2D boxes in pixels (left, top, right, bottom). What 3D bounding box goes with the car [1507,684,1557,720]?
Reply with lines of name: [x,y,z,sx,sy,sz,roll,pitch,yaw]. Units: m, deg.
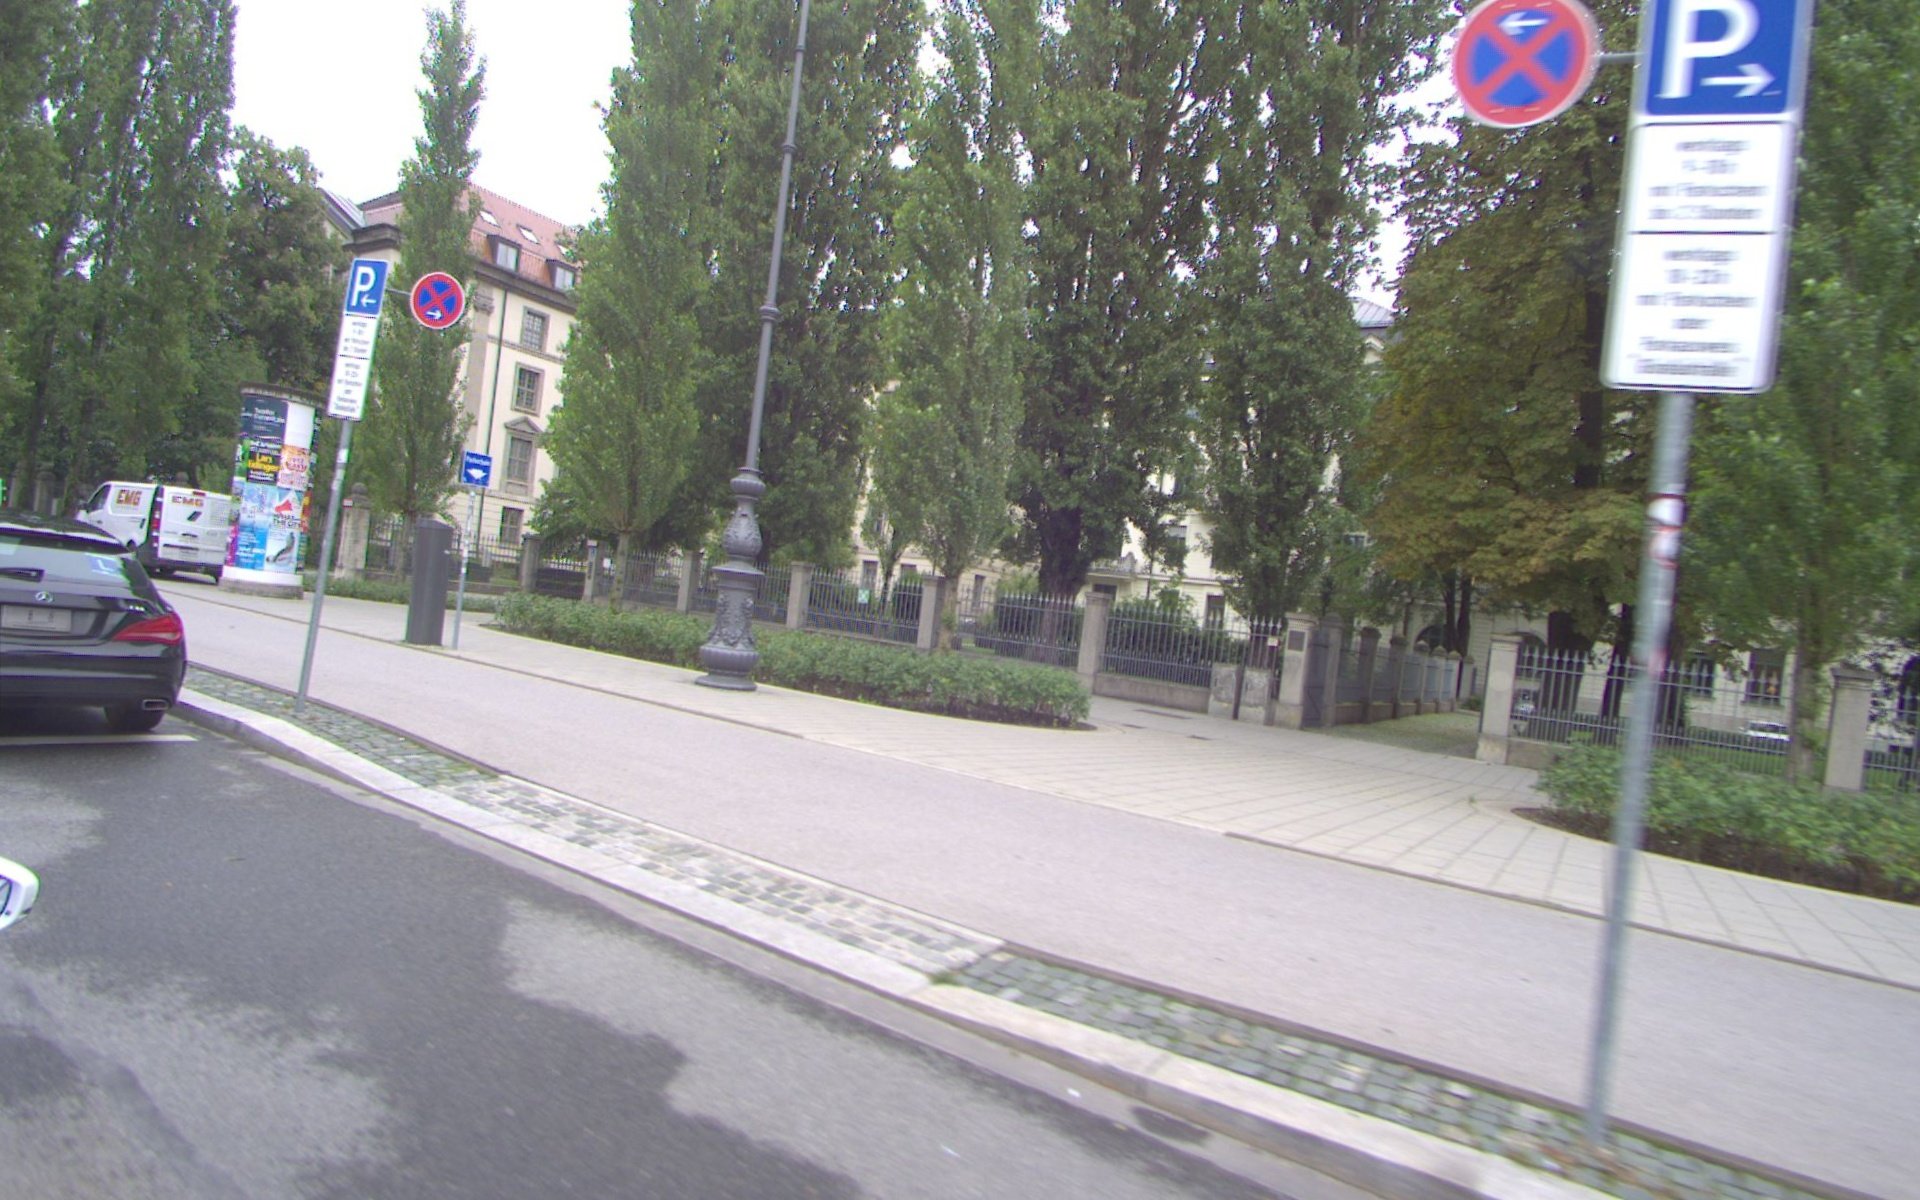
car: [28.148,4.994,49.459,1.803,1.420,4.206,7,-1,33]

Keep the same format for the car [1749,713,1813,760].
car: [35.375,5.841,43.404,1.624,1.637,3.989,7,-1,34]

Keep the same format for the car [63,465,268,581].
car: [-17.498,-1.719,22.094,4.805,1.966,1.884,6,-2,32]

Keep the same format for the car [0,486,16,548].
car: [-33.583,-2.982,33.495,5.002,1.969,1.995,6,-1,35]

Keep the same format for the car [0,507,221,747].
car: [-7.052,-0.018,6.967,4.301,1.326,1.736,6,-1,35]
